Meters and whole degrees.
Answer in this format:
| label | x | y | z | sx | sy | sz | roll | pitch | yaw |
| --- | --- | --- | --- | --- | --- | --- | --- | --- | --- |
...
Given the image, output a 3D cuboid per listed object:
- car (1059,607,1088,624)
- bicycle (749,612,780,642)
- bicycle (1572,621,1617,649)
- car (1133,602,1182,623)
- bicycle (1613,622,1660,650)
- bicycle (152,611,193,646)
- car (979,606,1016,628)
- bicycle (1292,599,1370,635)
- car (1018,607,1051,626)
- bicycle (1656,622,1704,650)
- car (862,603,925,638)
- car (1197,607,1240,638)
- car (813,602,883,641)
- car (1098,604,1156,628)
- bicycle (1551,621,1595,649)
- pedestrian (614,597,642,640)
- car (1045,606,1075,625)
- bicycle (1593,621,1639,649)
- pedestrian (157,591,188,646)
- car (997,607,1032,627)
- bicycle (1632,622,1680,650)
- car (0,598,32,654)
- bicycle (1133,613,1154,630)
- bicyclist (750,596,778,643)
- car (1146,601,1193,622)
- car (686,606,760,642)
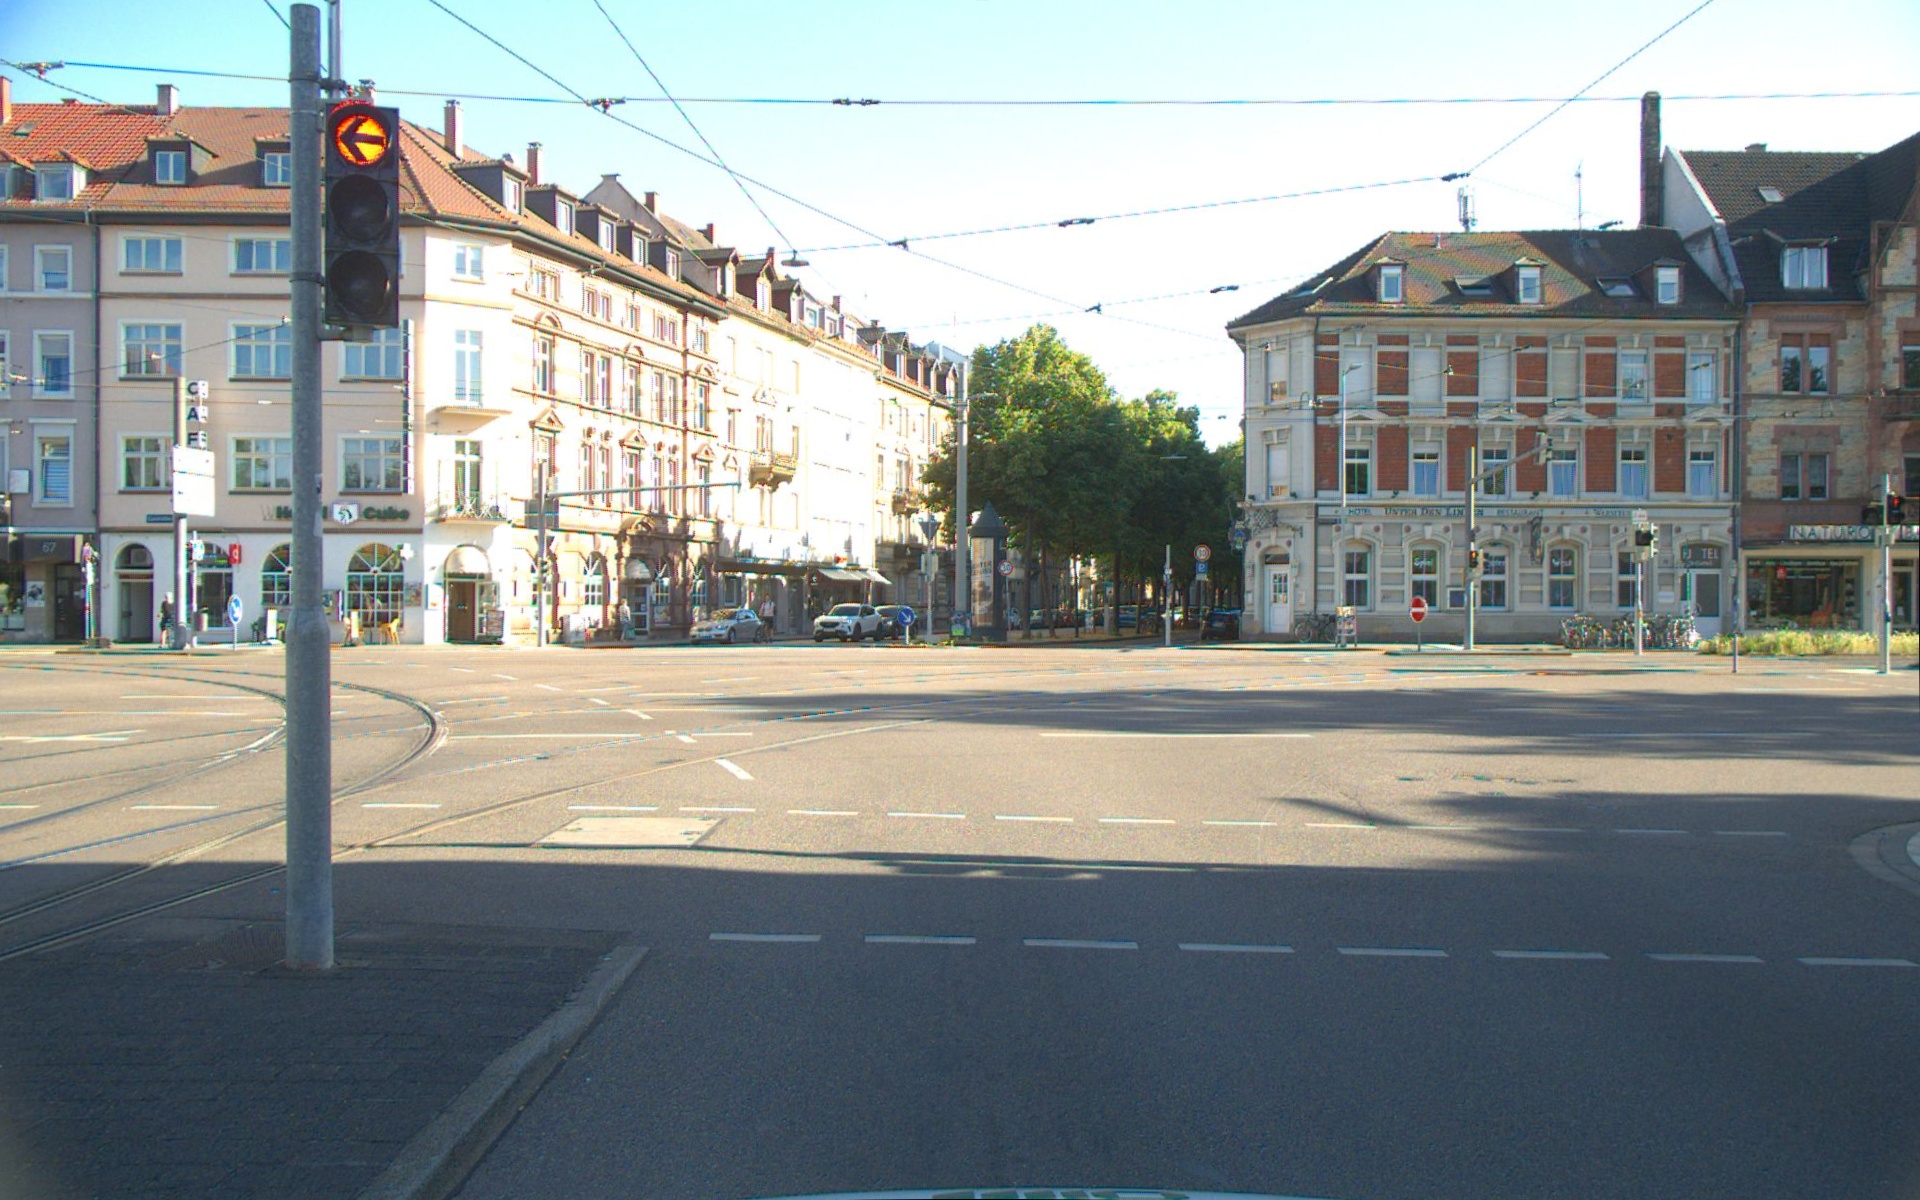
| label | x | y | z | sx | sy | sz | roll | pitch | yaw |
| --- | --- | --- | --- | --- | --- | --- | --- | --- | --- |
| car | 9.323 | 1.251 | 135.894 | 1.642 | 1.378 | 3.593 | 0 | 0 | 16 |
| bicycle | -7.676 | 1.046 | 65.125 | 0.687 | 1.137 | 1.636 | 1 | 0 | 13 |
| bicycle | 20.485 | 1.121 | 53.453 | 0.645 | 0.855 | 2.160 | 1 | 0 | 0 |
| car | 15.325 | 0.960 | 128.245 | 3.503 | 1.677 | 1.684 | 0 | 0 | 16 |
| bicycle | 21.868 | 1.145 | 53.500 | 0.645 | 0.855 | 2.160 | 1 | 0 | 0 |
| bicycle | -24.684 | 0.886 | 51.839 | 0.561 | 1.096 | 1.497 | 1 | 0 | -1 |
| car | 2.570 | 1.139 | 111.338 | 1.642 | 1.378 | 3.593 | 0 | 0 | 16 |
| bicycle | 12.871 | 0.589 | 57.456 | 2.504 | 1.194 | 0.818 | 1 | -1 | -4 |
| car | 5.539 | 1.203 | 122.500 | 1.642 | 1.378 | 3.593 | 0 | 0 | 16 |
| bicycle | 23.284 | 1.169 | 53.526 | 0.645 | 0.855 | 2.160 | 1 | 0 | 0 |
| car | -2.943 | 0.887 | 73.550 | 1.642 | 1.509 | 3.950 | 0 | 0 | 16 |
| car | 12.963 | 1.106 | 82.748 | 1.642 | 1.509 | 3.950 | 0 | 0 | 16 |
| car | -4.530 | 0.843 | 67.225 | 1.642 | 1.509 | 3.774 | 0 | 0 | 16 |
| car | 11.720 | 1.116 | 115.833 | 3.819 | 1.677 | 1.684 | 0 | 0 | 16 |
| bicycle | 19.766 | 1.108 | 53.366 | 0.645 | 0.855 | 2.160 | 1 | 0 | 0 |
| pedestrian | -13.174 | 0.743 | 65.699 | 0.759 | 1.699 | 0.831 | 1 | -1 | 15 |
| car | 7.898 | 1.215 | 130.842 | 1.642 | 1.378 | 3.593 | 0 | 0 | 16 |
| bicycle | 21.197 | 1.133 | 53.467 | 0.645 | 0.855 | 2.160 | 1 | 0 | 0 |
| pedestrian | -24.679 | 0.588 | 51.843 | 0.570 | 1.699 | 0.752 | 1 | -1 | -1 |
| car | 3.827 | 1.158 | 115.513 | 1.642 | 1.378 | 3.593 | 0 | 0 | 16 |
| bicycle | 22.495 | 1.155 | 53.480 | 0.645 | 0.855 | 2.160 | 1 | 0 | 0 |
| car | -32.147 | 0.788 | 52.256 | 4.276 | 1.741 | 2.306 | 1 | 0 | 1 |
| bicycle | 11.057 | 1.296 | 99.626 | 0.625 | 1.039 | 1.840 | 1 | 0 | -14 |
| bicyclist | -7.709 | 0.766 | 65.003 | 0.761 | 1.834 | 1.056 | 1 | -1 | 13 |
| car | 16.947 | 0.886 | 133.745 | 3.503 | 1.677 | 1.684 | 0 | 0 | 16 |
| car | -9.535 | 0.932 | 66.744 | 1.642 | 1.378 | 3.593 | 0 | 0 | 16 |
